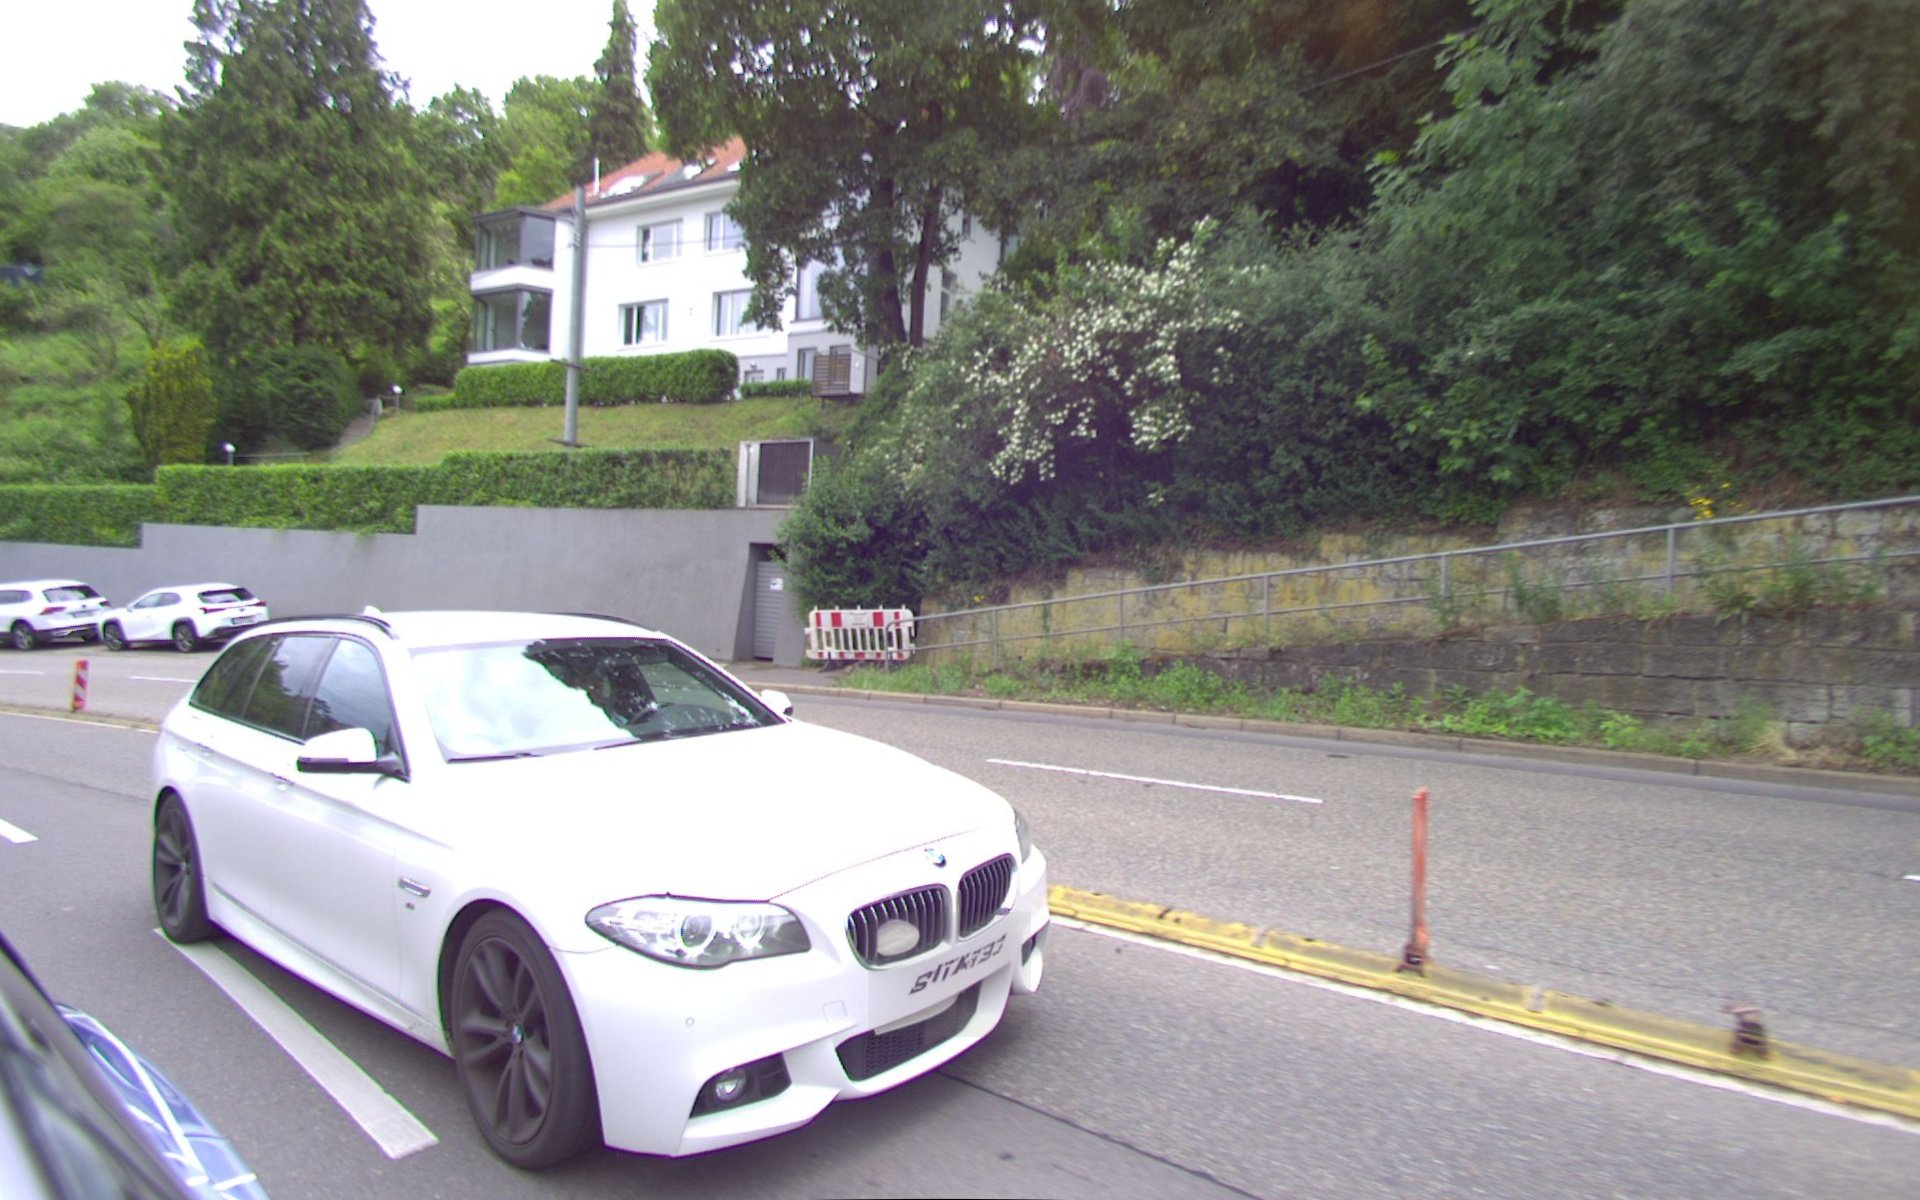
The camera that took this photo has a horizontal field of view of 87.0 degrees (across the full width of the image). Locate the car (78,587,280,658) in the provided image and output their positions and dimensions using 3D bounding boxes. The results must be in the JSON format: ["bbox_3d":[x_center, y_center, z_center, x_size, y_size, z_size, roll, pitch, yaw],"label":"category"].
[{"bbox_3d":[-19.166,0.509,24.854,4.441,1.584,1.827,0,2,20],"label":"car"}]

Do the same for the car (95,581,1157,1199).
[{"bbox_3d":[-1.800,0.692,4.231,4.872,1.477,1.830,1,3,38],"label":"car"}]

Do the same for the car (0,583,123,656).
[{"bbox_3d":[-24.707,0.485,26.445,4.713,1.744,1.858,-1,3,13],"label":"car"}]
